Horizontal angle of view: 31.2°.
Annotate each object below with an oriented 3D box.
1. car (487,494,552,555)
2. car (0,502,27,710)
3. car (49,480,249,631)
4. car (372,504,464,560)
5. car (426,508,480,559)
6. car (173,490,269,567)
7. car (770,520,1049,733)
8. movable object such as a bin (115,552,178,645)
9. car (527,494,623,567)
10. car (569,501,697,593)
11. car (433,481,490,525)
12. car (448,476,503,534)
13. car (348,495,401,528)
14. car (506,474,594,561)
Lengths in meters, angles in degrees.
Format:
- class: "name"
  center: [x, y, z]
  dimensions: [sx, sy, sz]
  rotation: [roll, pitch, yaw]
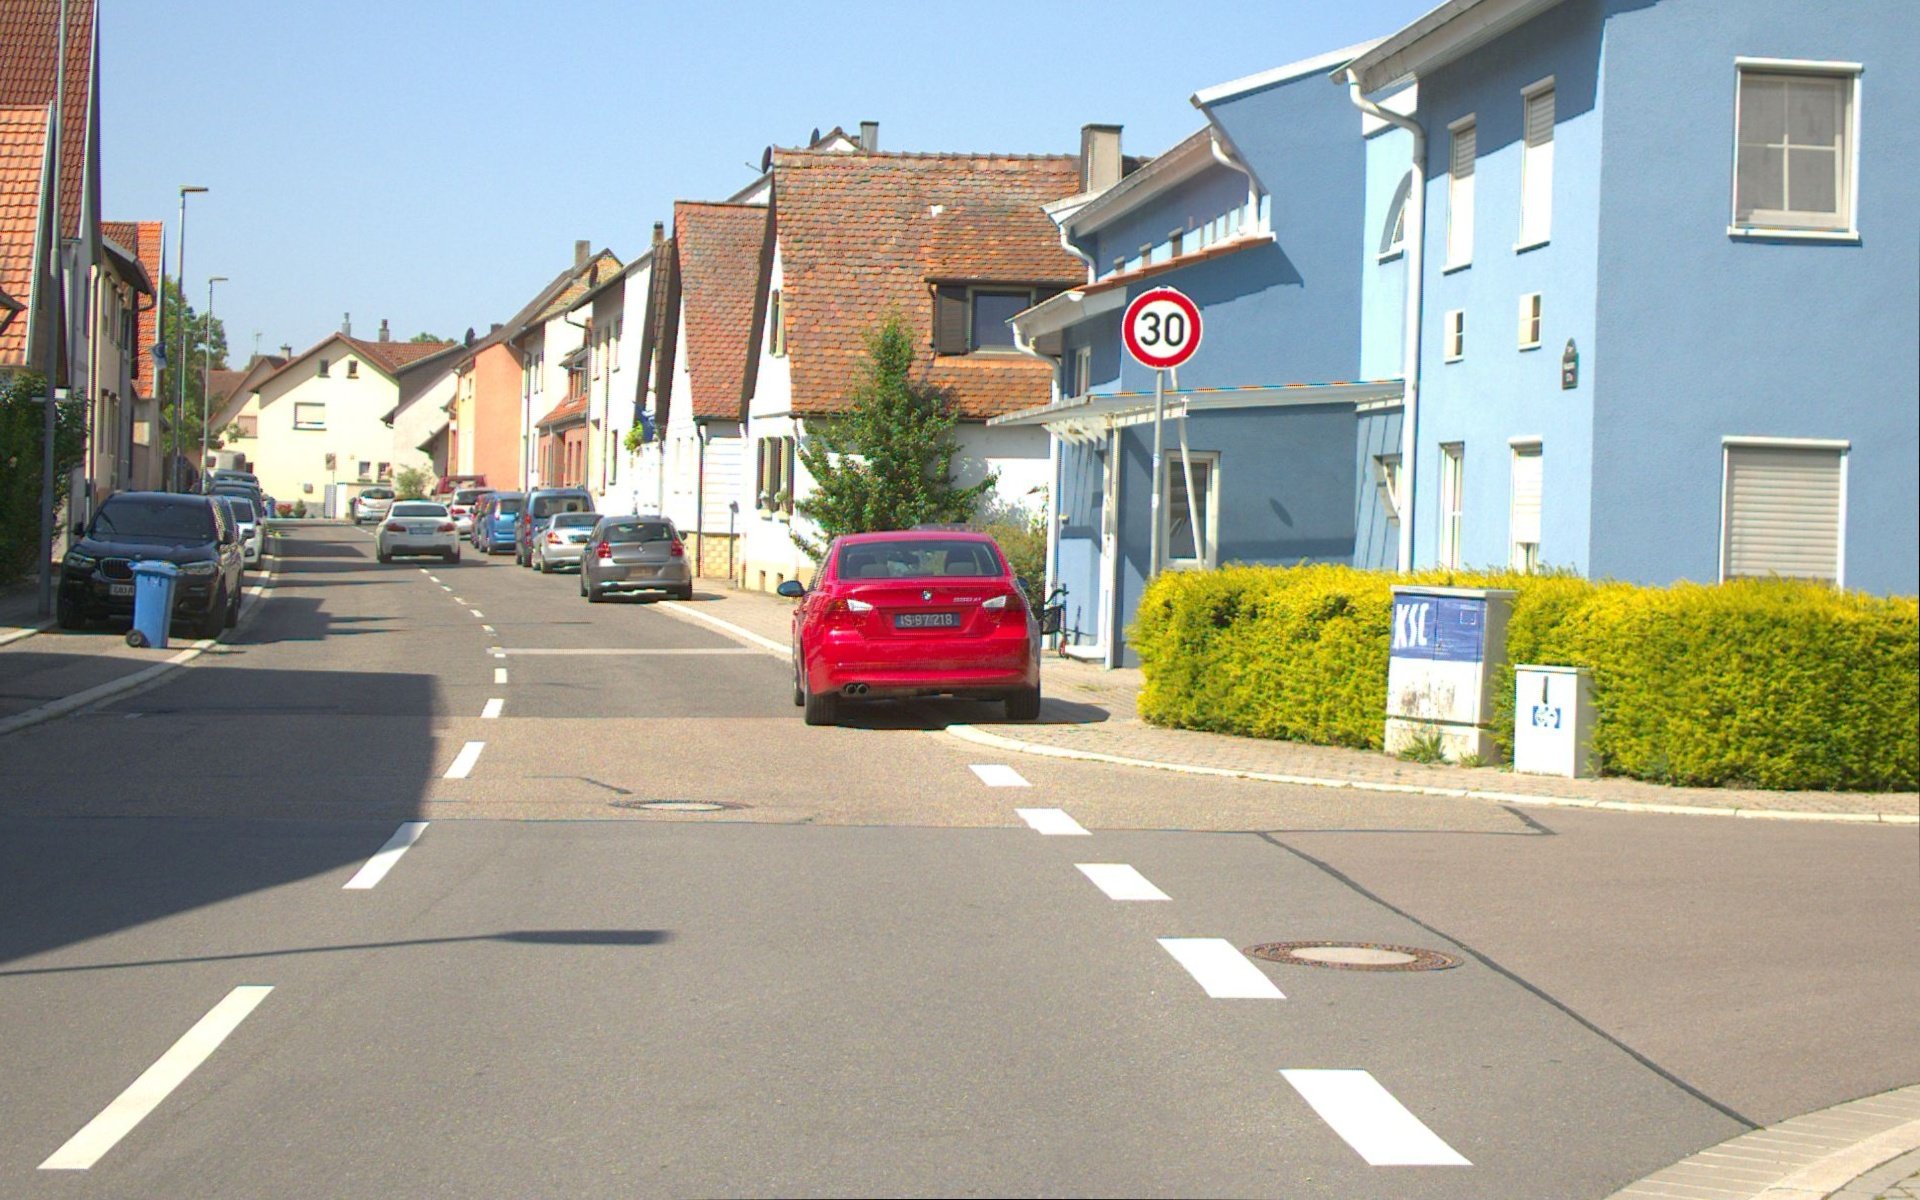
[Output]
- class: "car"
  center: [-11.588, -1.990, 90.286]
  dimensions: [1.420, 1.510, 3.305]
  rotation: [2, 2, -12]
- class: "car"
  center: [-7.563, 0.029, 23.366]
  dimensions: [1.640, 1.496, 3.782]
  rotation: [4, 1, -5]
- class: "car"
  center: [-9.902, -0.570, 42.293]
  dimensions: [1.919, 1.662, 4.667]
  rotation: [3, 1, -8]
- class: "car"
  center: [-12.899, -1.626, 81.687]
  dimensions: [1.993, 1.284, 4.001]
  rotation: [0, 1, -11]
- class: "car"
  center: [-15.857, -2.103, 107.424]
  dimensions: [1.420, 1.510, 3.305]
  rotation: [2, 2, -12]
- class: "car"
  center: [-15.814, -1.562, 73.711]
  dimensions: [1.805, 1.542, 4.405]
  rotation: [2, 2, -10]
- class: "car"
  center: [-0.476, 0.154, 26.642]
  dimensions: [1.732, 1.489, 4.356]
  rotation: [-1, 1, -6]
- class: "movable object such as a bin"
  center: [-8.870, -0.017, 37.505]
  dimensions: [0.596, 0.979, 0.531]
  rotation: [2, 1, -9]
- class: "car"
  center: [-8.364, -1.523, 74.497]
  dimensions: [1.704, 1.491, 3.454]
  rotation: [2, 2, -12]
- class: "car"
  center: [-5.555, -0.915, 58.058]
  dimensions: [1.704, 1.428, 3.891]
  rotation: [1, 2, -12]
- class: "car"
  center: [-16.788, -3.257, 115.598]
  dimensions: [1.766, 1.428, 3.451]
  rotation: [0, 1, -10]
- class: "car"
  center: [-17.007, -3.339, 120.506]
  dimensions: [1.766, 1.997, 3.451]
  rotation: [0, 1, -10]
- class: "car"
  center: [-23.231, -3.506, 136.301]
  dimensions: [1.993, 1.284, 3.805]
  rotation: [0, 1, -11]
- class: "car"
  center: [-9.489, -1.920, 79.402]
  dimensions: [1.649, 1.903, 3.627]
  rotation: [2, 1, -12]
